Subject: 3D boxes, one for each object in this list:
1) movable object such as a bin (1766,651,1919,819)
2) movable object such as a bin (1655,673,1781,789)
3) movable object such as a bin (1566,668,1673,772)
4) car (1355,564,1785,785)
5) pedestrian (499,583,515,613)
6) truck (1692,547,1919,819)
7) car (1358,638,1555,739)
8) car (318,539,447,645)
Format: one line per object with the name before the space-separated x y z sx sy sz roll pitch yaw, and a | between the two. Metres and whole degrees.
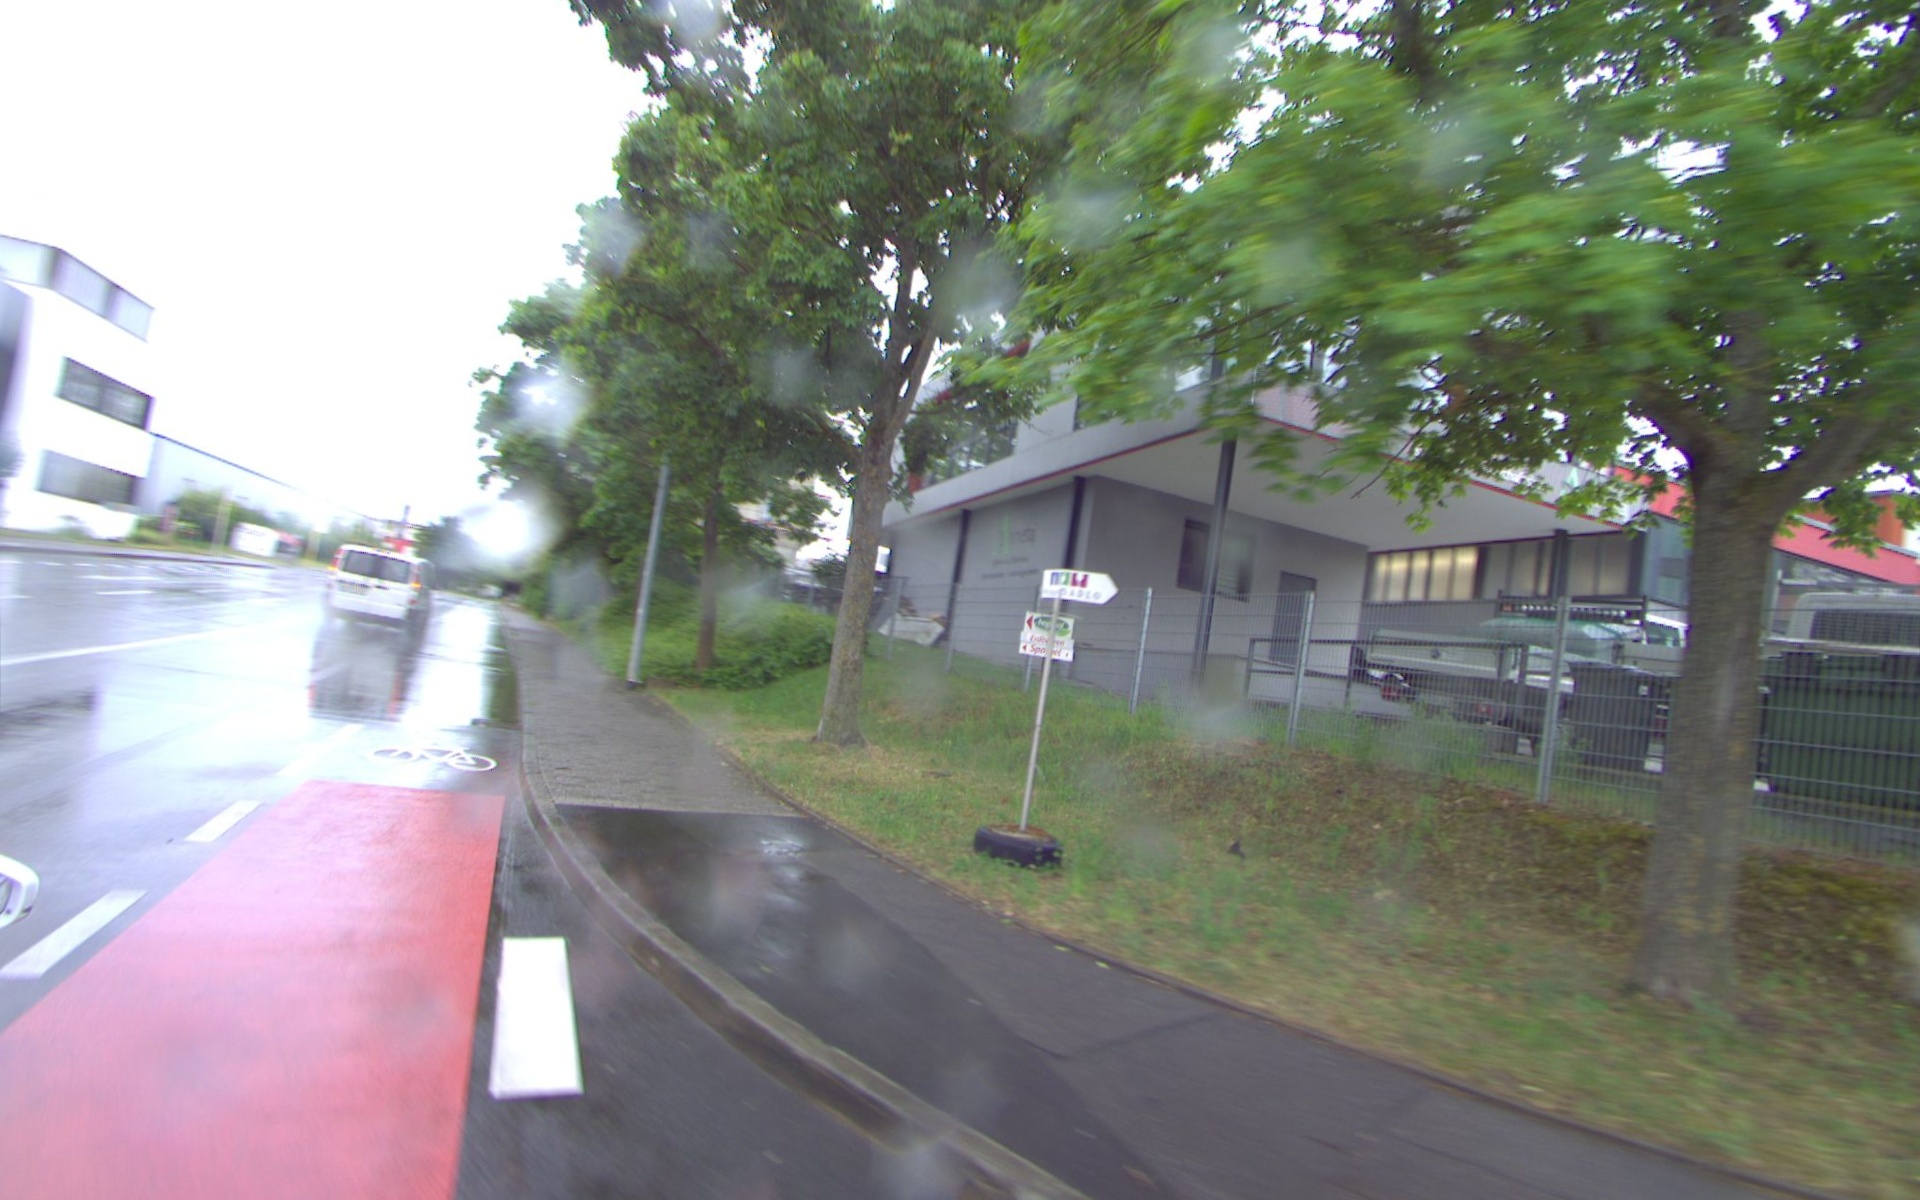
movable object such as a bin | 6.535 0.953 7.024 0.871 1.054 1.049 7 -2 -19
movable object such as a bin | 6.096 1.044 8.105 0.533 0.827 0.563 7 -2 -23
movable object such as a bin | 5.775 1.041 8.817 0.533 0.811 0.520 7 -2 -23
car | 7.559 0.956 12.424 4.877 2.036 2.052 8 -2 -25
pedestrian | -30.741 -0.106 68.227 0.769 1.928 0.725 7 -3 -25
truck | 10.164 1.046 10.421 4.785 2.367 2.235 9 -3 -29
car | 12.387 2.164 25.386 1.974 2.036 3.981 8 -3 -23
car | -13.817 -0.163 24.373 1.881 2.040 5.347 8 -3 -23
